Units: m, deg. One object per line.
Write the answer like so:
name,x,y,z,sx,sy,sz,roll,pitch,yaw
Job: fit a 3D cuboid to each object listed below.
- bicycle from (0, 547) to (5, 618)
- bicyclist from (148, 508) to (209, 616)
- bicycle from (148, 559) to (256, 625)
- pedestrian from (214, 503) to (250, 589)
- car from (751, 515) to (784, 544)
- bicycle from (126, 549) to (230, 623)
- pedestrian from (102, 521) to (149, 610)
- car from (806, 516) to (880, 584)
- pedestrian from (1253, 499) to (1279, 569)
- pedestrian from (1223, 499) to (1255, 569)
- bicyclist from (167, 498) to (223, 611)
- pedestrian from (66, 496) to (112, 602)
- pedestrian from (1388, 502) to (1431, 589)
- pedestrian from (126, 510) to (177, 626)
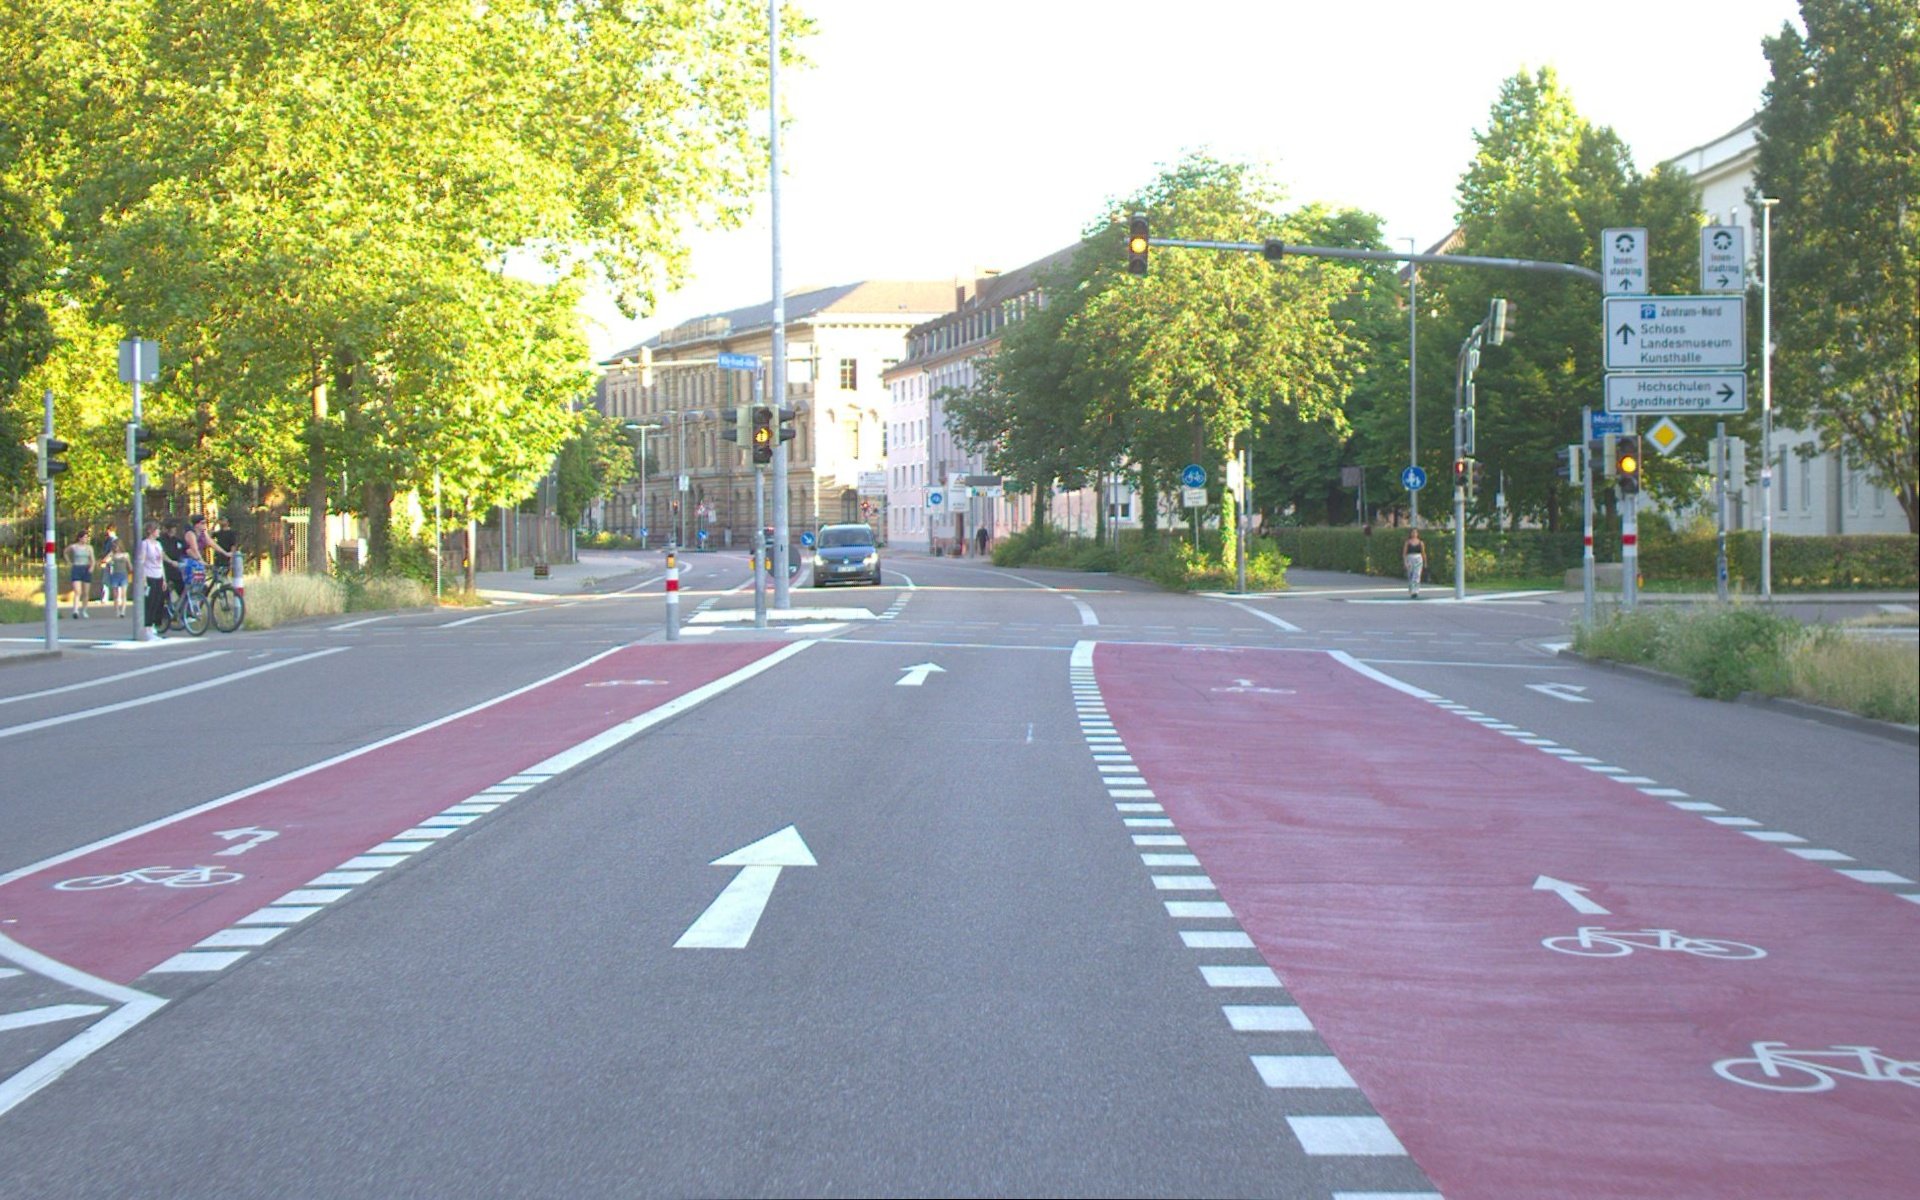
bicycle,-15.090,-0.246,52.109,0.770,1.097,2.123,0,1,-4
bicyclist,-11.996,-0.589,52.761,0.638,1.644,0.629,1,1,32
bicycle,-11.968,-0.133,54.268,1.769,1.026,0.578,1,1,33
pedestrian,-16.967,-1.263,80.081,0.640,2.007,0.701,0,1,3
car,-11.112,-4.061,198.015,1.819,1.583,4.001,-1,2,-3
bicycle,-12.009,-0.224,52.770,1.566,1.107,0.632,1,1,33
pedestrian,-19.049,-0.796,78.500,0.802,2.007,0.994,1,1,1
car,-3.110,-1.343,91.902,1.849,1.714,4.296,-2,1,-1
pedestrian,8.914,-1.919,100.201,0.635,2.007,0.720,1,1,-2
pedestrian,8.083,-1.909,99.665,0.870,2.007,0.722,1,1,2
bicyclist,-12.090,-0.719,54.338,0.638,1.774,0.575,1,1,32
pedestrian,-16.693,-0.977,65.868,0.649,2.007,0.606,0,1,-37
pedestrian,10.473,-1.276,80.061,0.800,2.006,0.964,1,2,-3
pedestrian,-11.886,-0.472,50.554,0.607,1.690,0.498,0,1,3
